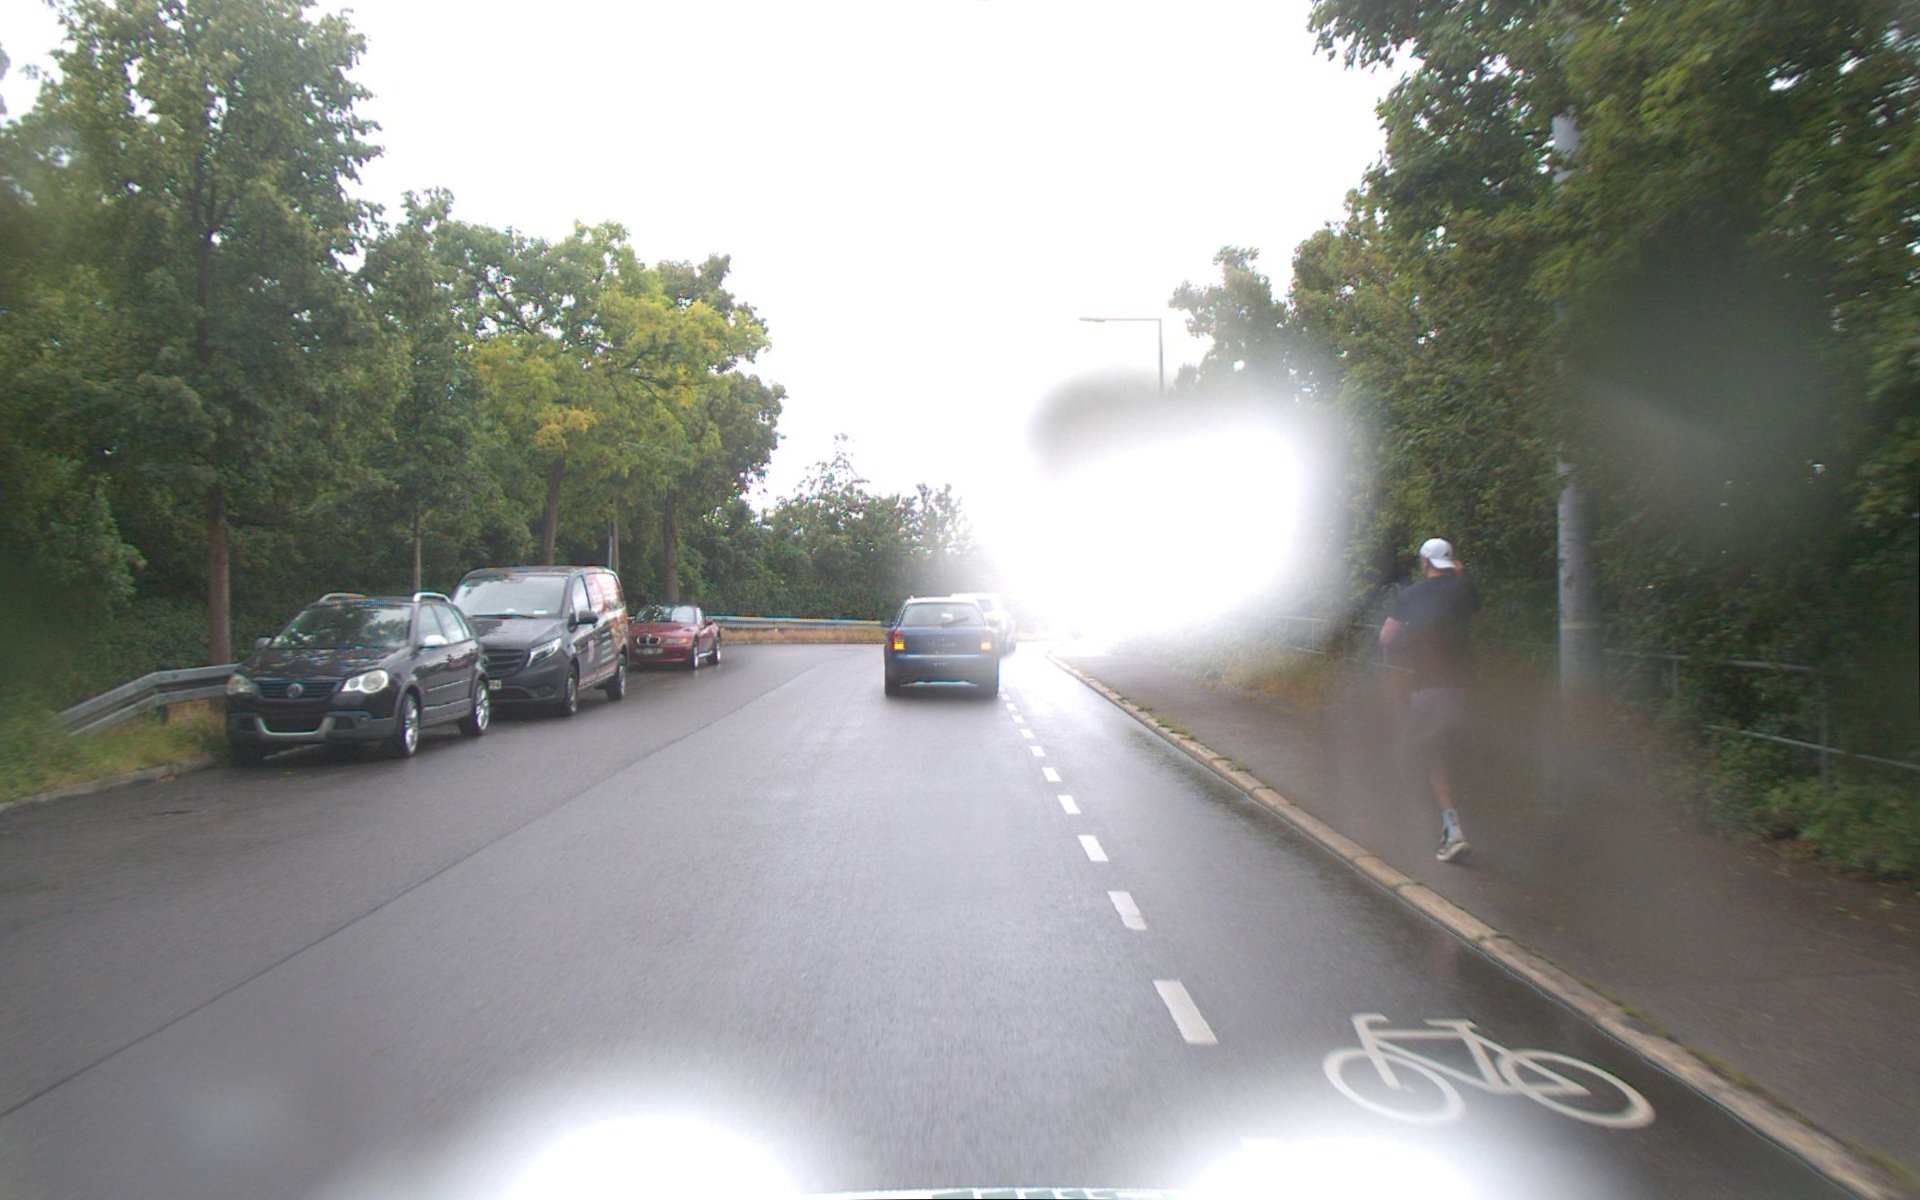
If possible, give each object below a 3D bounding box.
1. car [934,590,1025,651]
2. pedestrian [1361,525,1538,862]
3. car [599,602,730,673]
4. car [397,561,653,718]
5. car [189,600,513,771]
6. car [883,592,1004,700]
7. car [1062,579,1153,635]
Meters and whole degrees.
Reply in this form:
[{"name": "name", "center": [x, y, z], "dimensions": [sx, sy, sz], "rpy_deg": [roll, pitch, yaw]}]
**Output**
[{"name": "car", "center": [0.542, 0.492, 41.297], "dimensions": [1.850, 1.413, 4.003], "rpy_deg": [-1, 0, 7]}, {"name": "pedestrian", "center": [2.878, 0.525, 9.817], "dimensions": [0.702, 1.867, 1.021], "rpy_deg": [-2, 0, 1]}, {"name": "car", "center": [-5.931, 0.713, 33.694], "dimensions": [1.752, 1.319, 4.326], "rpy_deg": [-1, 0, 2]}, {"name": "car", "center": [-5.749, 0.480, 22.660], "dimensions": [2.041, 1.851, 5.380], "rpy_deg": [-1, 0, 0]}, {"name": "car", "center": [-5.936, 0.753, 16.685], "dimensions": [1.761, 1.462, 4.254], "rpy_deg": [-1, 0, -1]}, {"name": "car", "center": [-0.255, 0.648, 25.544], "dimensions": [1.711, 1.432, 4.000], "rpy_deg": [0, 2, -1]}, {"name": "car", "center": [4.702, 0.202, 52.281], "dimensions": [1.784, 1.645, 3.785], "rpy_deg": [-2, 0, 22]}]
